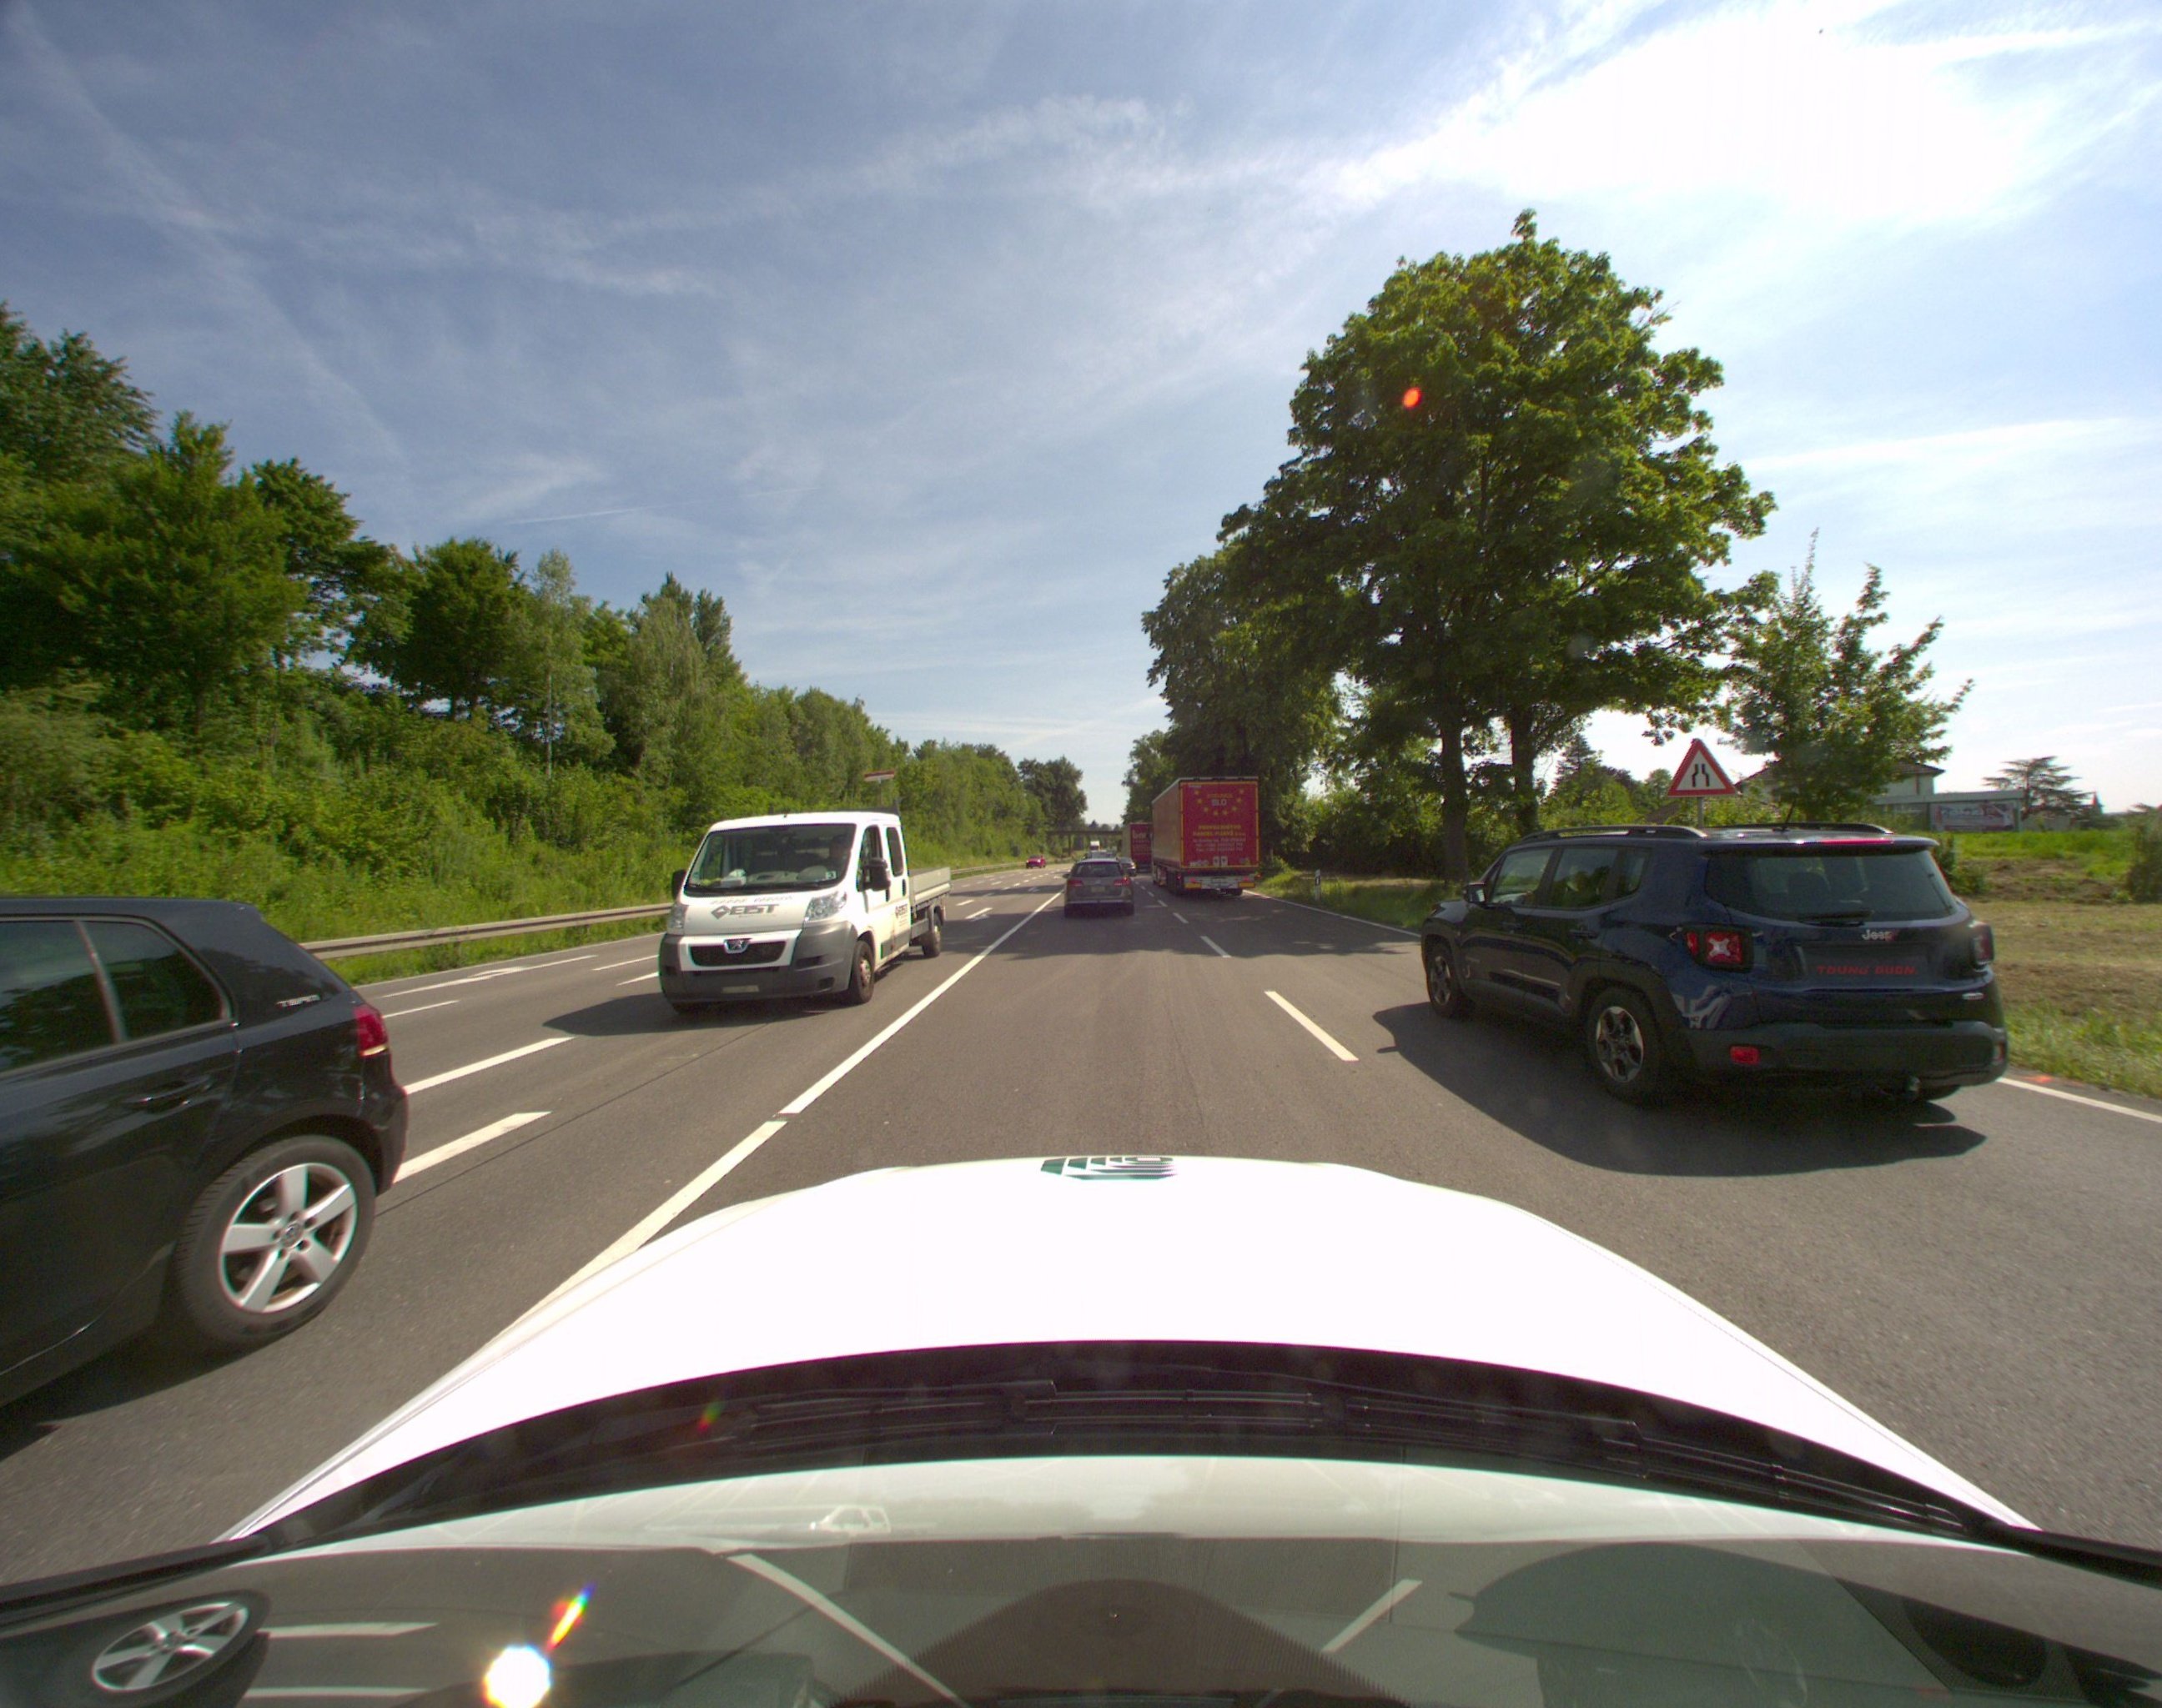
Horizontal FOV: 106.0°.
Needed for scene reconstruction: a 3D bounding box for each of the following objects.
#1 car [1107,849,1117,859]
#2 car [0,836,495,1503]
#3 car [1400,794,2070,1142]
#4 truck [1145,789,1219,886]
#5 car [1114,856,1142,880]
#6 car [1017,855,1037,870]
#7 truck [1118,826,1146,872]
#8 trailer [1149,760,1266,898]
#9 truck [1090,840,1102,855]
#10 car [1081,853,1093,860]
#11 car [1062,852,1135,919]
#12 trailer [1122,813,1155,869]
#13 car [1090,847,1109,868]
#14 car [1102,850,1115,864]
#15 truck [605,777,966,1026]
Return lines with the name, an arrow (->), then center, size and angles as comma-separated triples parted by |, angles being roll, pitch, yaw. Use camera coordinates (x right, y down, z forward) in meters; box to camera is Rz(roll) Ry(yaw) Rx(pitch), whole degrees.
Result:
car -> 6.327, -0.011, 167.608 | 1.986, 2.013, 4.001 | -3, -1, 1
car -> -3.411, 0.769, 1.391 | 1.704, 1.551, 4.110 | -3, -1, 1
car -> 4.053, 0.584, 6.078 | 1.764, 1.654, 4.000 | -3, -1, 1
truck -> 4.718, -0.702, 38.997 | 2.860, 4.281, 5.840 | -1, -1, 1
car -> 3.217, 0.976, 56.568 | 1.764, 1.513, 4.001 | -3, -1, 1
car -> -6.715, 1.078, 102.189 | 1.966, 1.796, 4.809 | -3, -1, 1
truck -> 4.859, -0.422, 77.286 | 2.396, 4.128, 5.526 | -3, -1, 3
trailer -> 4.595, -0.764, 32.562 | 2.829, 4.365, 13.169 | -1, 0, 1
truck -> 4.038, -1.701, 220.773 | 2.764, 3.931, 9.467 | -2, -1, 1
car -> 1.115, 0.485, 155.584 | 1.954, 1.415, 4.005 | -2, -1, 5
car -> 0.453, 0.772, 21.583 | 1.685, 1.513, 4.001 | -3, -1, 1
trailer -> 4.866, -0.984, 70.217 | 2.385, 4.243, 13.089 | -3, -1, 3
car -> 1.856, 0.359, 82.032 | 1.764, 1.936, 3.978 | -3, -1, 1
car -> 4.328, 0.463, 128.317 | 1.986, 2.013, 4.001 | -3, -1, 1
truck -> -3.286, 0.477, 11.019 | 2.218, 2.267, 6.502 | -3, -1, 2
